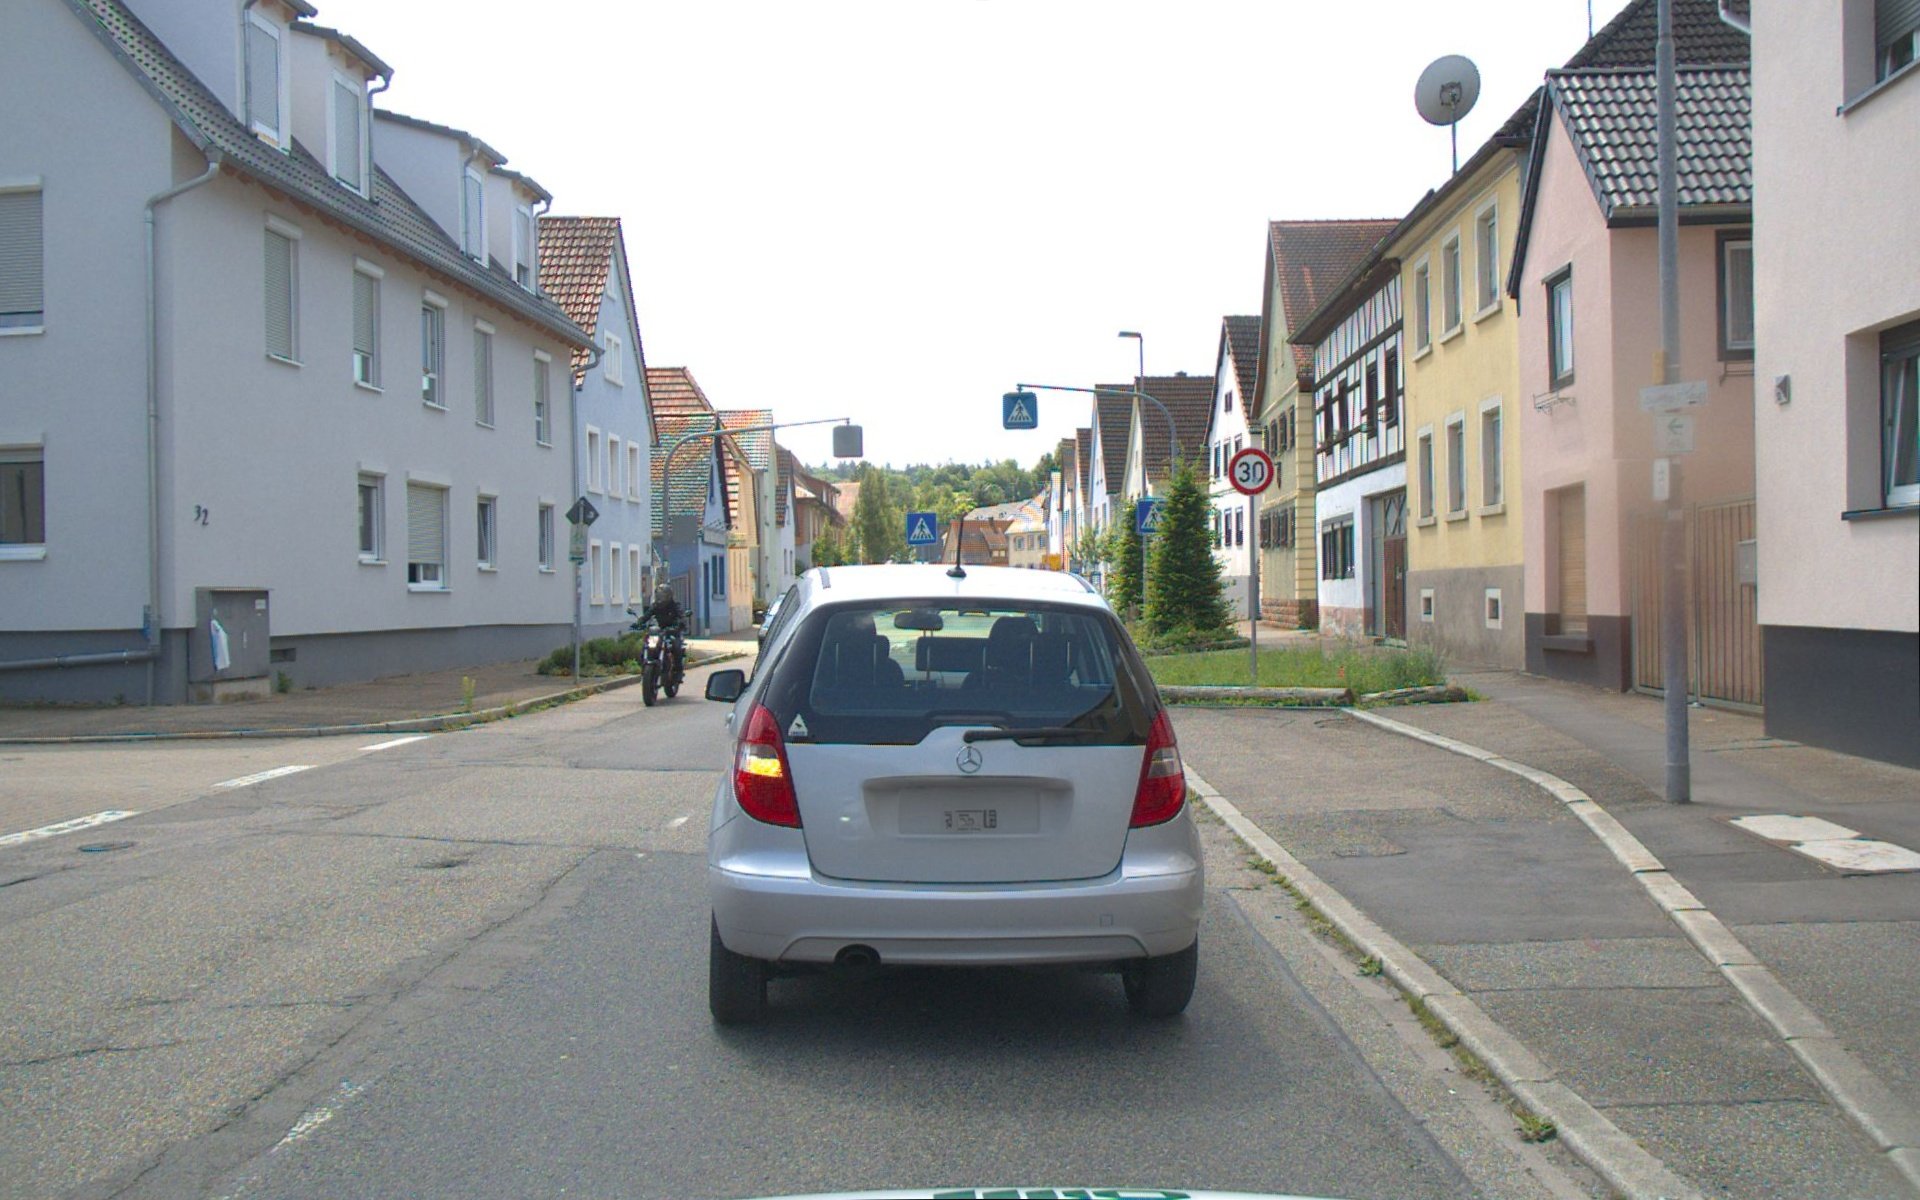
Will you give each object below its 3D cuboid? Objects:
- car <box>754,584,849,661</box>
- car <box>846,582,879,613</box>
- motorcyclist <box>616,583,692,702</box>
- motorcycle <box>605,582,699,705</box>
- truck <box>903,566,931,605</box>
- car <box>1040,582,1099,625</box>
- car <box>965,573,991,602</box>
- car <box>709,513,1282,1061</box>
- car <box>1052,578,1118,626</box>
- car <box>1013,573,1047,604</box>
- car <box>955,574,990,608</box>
[{"bbox_3d":[-3.484,0.529,36.926,1.468,1.567,3.857,2,-1,3],"label":"car"},{"bbox_3d":[-5.381,-0.105,91.657,1.633,1.624,3.999,0,-2,0],"label":"car"},{"bbox_3d":[-4.125,0.562,22.335,0.878,1.582,0.807,0,0,0],"label":"motorcyclist"},{"bbox_3d":[-4.141,0.549,22.386,0.862,1.588,1.968,0,0,1],"label":"motorcycle"},{"bbox_3d":[-3.142,-1.039,121.681,1.953,2.581,6.737,0,-2,-1],"label":"truck"},{"bbox_3d":[4.091,0.159,62.369,1.953,1.534,3.999,0,-2,0],"label":"car"},{"bbox_3d":[1.336,-0.943,124.595,1.953,2.049,3.999,0,-2,0],"label":"car"},{"bbox_3d":[-0.089,0.598,7.025,1.776,1.672,3.723,1,0,-7],"label":"car"},{"bbox_3d":[4.215,0.090,56.254,1.953,1.534,3.999,0,-2,0],"label":"car"},{"bbox_3d":[4.459,-0.742,105.848,1.953,1.848,3.998,0,-2,-1],"label":"car"},{"bbox_3d":[0.696,-0.485,94.880,1.953,1.848,3.998,0,-2,-1],"label":"car"}]
